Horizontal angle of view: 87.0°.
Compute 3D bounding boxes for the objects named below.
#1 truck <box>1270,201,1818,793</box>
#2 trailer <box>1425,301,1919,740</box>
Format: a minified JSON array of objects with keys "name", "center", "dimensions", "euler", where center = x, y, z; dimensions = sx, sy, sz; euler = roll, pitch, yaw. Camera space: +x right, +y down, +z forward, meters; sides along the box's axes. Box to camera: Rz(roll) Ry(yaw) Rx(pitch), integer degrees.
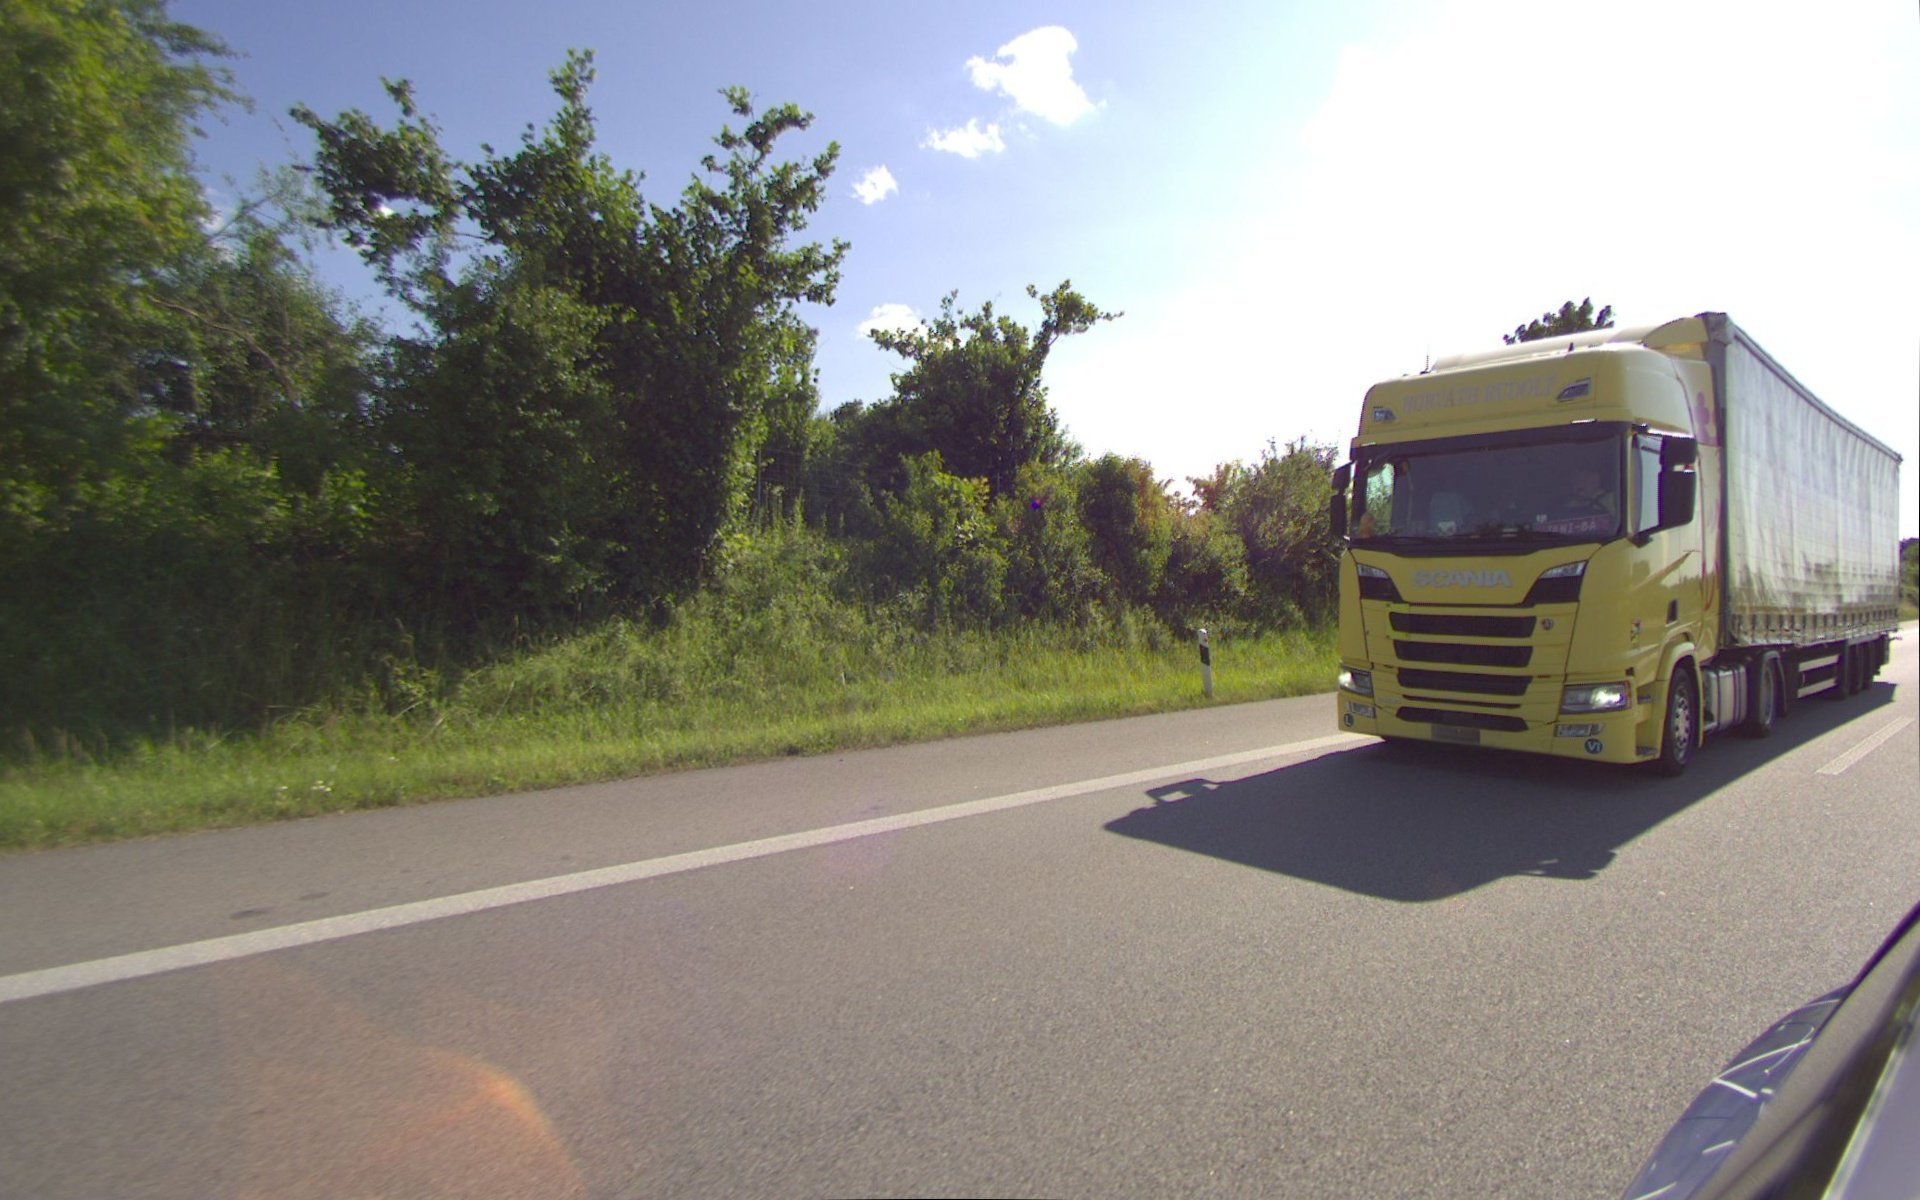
[{"name":"truck","center":[6.277,-0.758,10.429],"dimensions":[6.280,4.166,3.172],"euler":[-1,0,-43]},{"name":"trailer","center":[11.347,-0.813,15.017],"dimensions":[12.960,4.110,3.189],"euler":[-1,0,-42]}]
